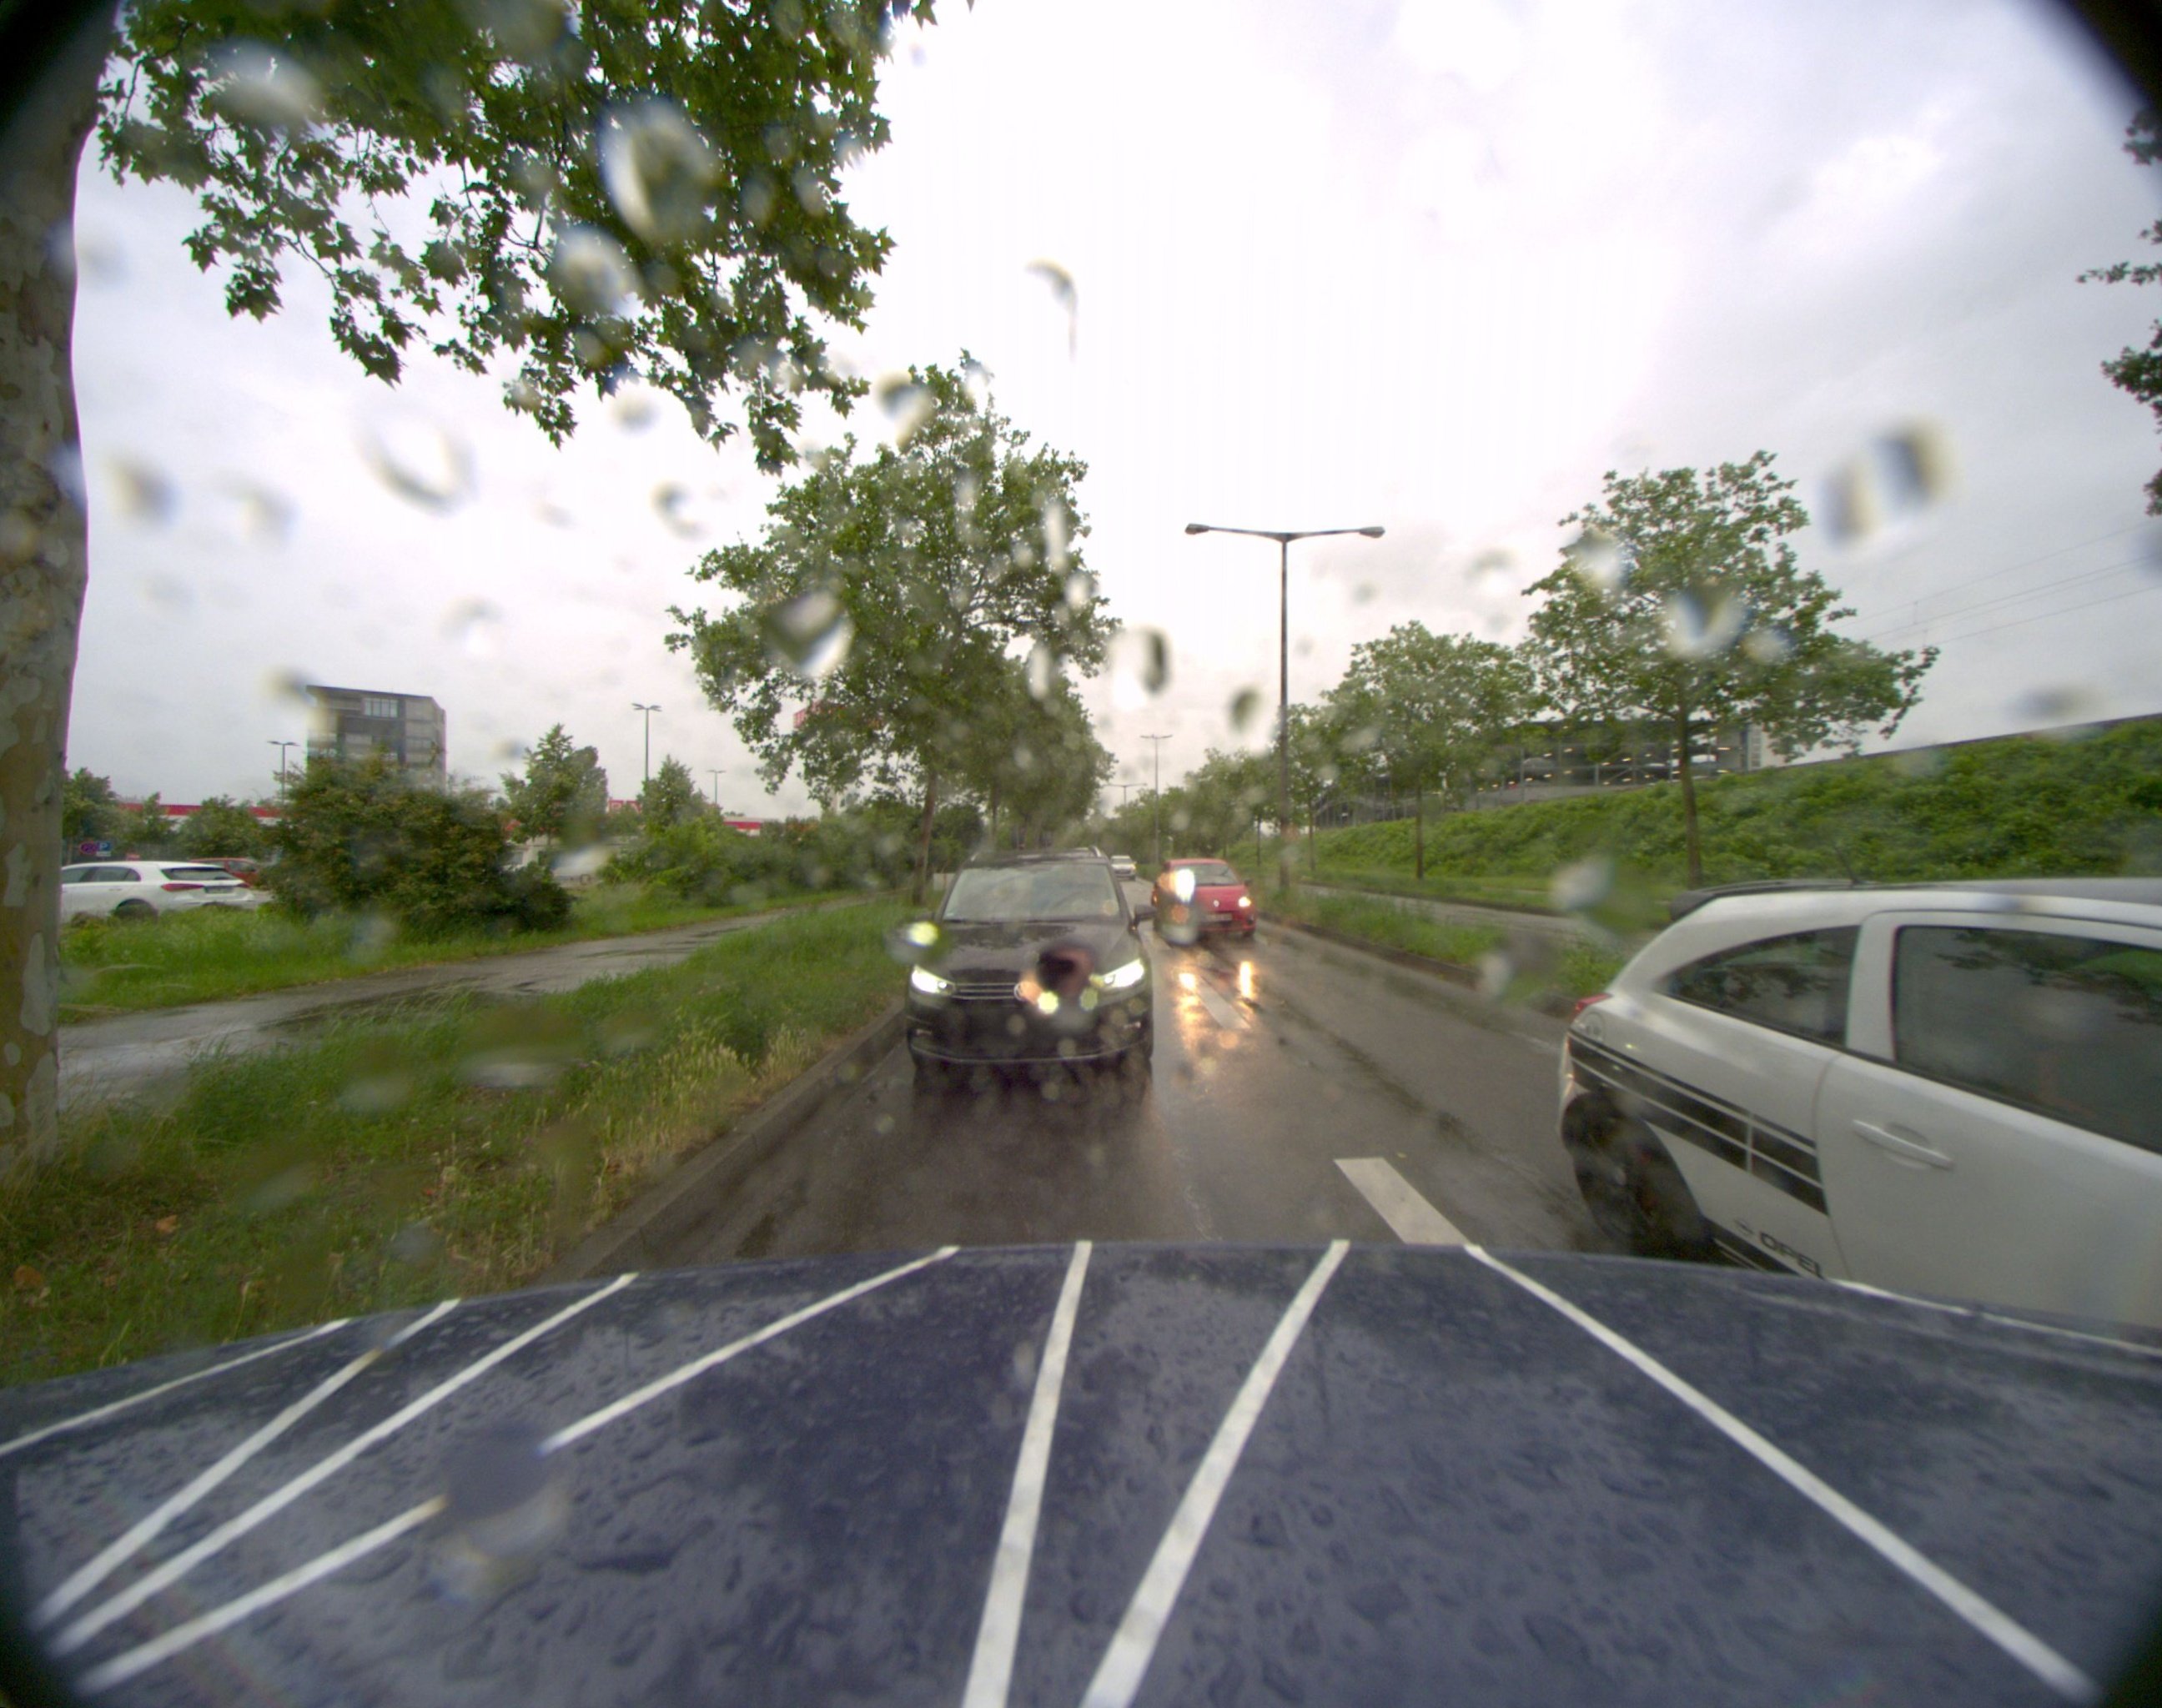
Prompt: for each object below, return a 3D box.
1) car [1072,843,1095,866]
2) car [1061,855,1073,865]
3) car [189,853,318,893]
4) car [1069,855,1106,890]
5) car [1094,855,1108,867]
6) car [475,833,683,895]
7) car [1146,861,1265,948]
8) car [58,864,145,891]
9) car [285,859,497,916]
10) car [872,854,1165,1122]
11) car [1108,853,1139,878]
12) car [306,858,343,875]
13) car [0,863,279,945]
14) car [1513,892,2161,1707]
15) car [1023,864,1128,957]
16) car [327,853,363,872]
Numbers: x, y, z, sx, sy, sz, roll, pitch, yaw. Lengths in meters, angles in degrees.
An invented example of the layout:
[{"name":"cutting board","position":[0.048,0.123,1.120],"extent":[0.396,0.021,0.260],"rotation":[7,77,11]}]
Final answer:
[{"name":"car","position":[0.260,0.033,71.849],"extent":[1.998,2.002,5.132],"rotation":[-2,1,1]},{"name":"car","position":[-2.251,0.984,122.149],"extent":[1.715,1.494,3.999],"rotation":[-2,0,-2]},{"name":"car","position":[-40.842,0.913,37.657],"extent":[4.007,1.718,1.886],"rotation":[-3,1,-38]},{"name":"car","position":[0.343,0.968,41.557],"extent":[1.831,1.737,4.147],"rotation":[-2,0,0]},{"name":"car","position":[2.742,0.985,105.006],"extent":[1.715,1.494,3.999],"rotation":[-2,0,-2]},{"name":"car","position":[-19.663,0.366,30.085],"extent":[6.425,2.349,2.390],"rotation":[0,0,-8]},{"name":"car","position":[2.376,0.909,15.471],"extent":[1.724,1.456,4.092],"rotation":[-2,0,0]},{"name":"car","position":[-61.947,1.441,48.146],"extent":[1.933,1.543,4.263],"rotation":[0,0,-30]},{"name":"car","position":[-19.943,0.929,22.136],"extent":[4.272,1.543,1.929],"rotation":[0,0,-4]},{"name":"car","position":[-0.434,0.840,7.074],"extent":[1.771,1.596,4.626],"rotation":[-2,0,-1]},{"name":"car","position":[2.944,0.804,53.056],"extent":[1.831,1.602,4.147],"rotation":[-2,0,0]},{"name":"car","position":[-78.466,1.240,78.870],"extent":[2.006,1.667,4.262],"rotation":[0,0,-35]},{"name":"car","position":[-19.790,0.971,15.665],"extent":[4.272,1.543,1.929],"rotation":[0,0,-4]},{"name":"car","position":[2.778,0.883,1.375],"extent":[1.683,1.368,4.011],"rotation":[-2,0,0]},{"name":"car","position":[-0.091,0.986,14.898],"extent":[1.724,1.456,4.092],"rotation":[-2,0,0]},{"name":"car","position":[-67.842,0.742,70.117],"extent":[2.007,1.667,4.261],"rotation":[0,0,-39]}]
